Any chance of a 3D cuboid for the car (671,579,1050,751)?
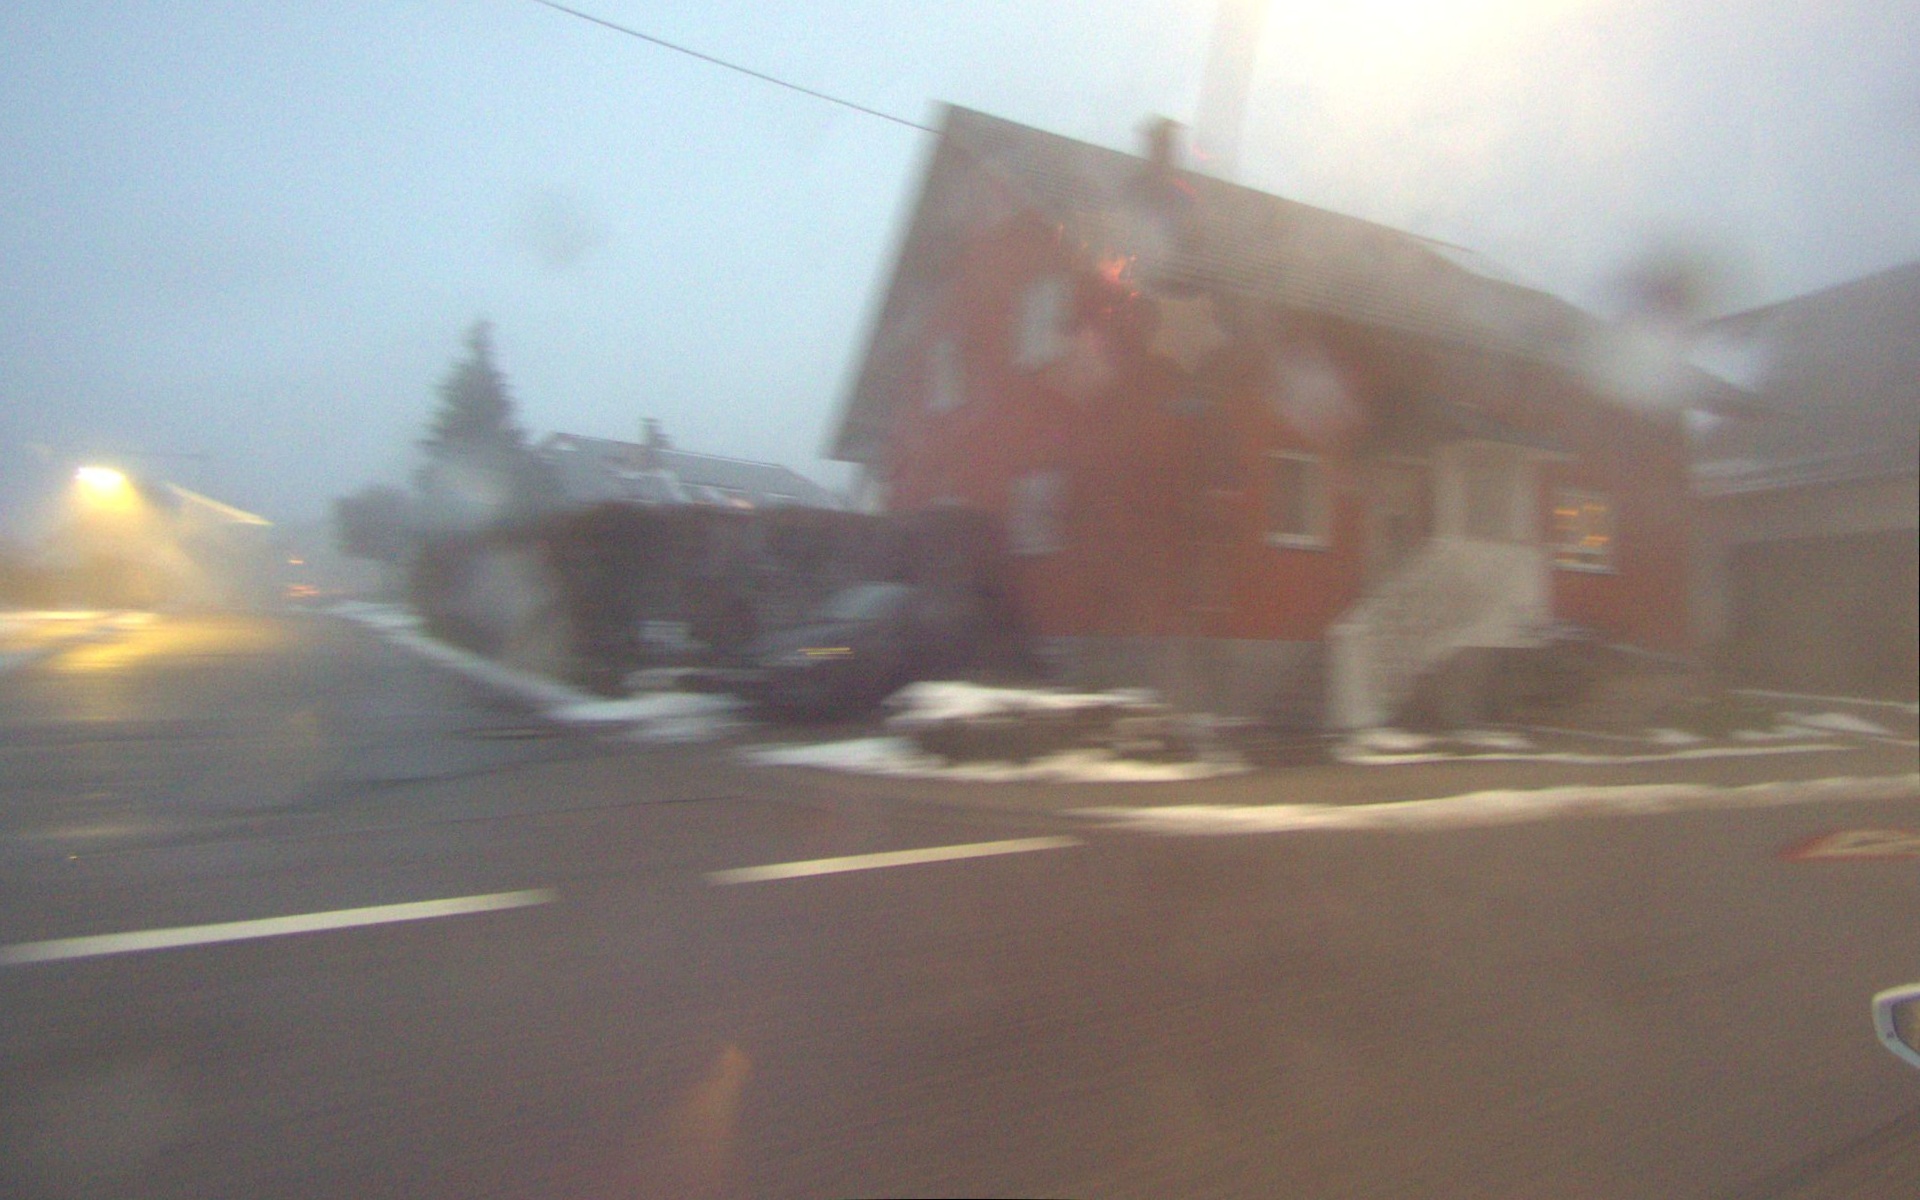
[{"bbox_3d":[-0.933,0.647,11.135,1.852,1.524,3.981,2,-1,41],"label":"car"}]
